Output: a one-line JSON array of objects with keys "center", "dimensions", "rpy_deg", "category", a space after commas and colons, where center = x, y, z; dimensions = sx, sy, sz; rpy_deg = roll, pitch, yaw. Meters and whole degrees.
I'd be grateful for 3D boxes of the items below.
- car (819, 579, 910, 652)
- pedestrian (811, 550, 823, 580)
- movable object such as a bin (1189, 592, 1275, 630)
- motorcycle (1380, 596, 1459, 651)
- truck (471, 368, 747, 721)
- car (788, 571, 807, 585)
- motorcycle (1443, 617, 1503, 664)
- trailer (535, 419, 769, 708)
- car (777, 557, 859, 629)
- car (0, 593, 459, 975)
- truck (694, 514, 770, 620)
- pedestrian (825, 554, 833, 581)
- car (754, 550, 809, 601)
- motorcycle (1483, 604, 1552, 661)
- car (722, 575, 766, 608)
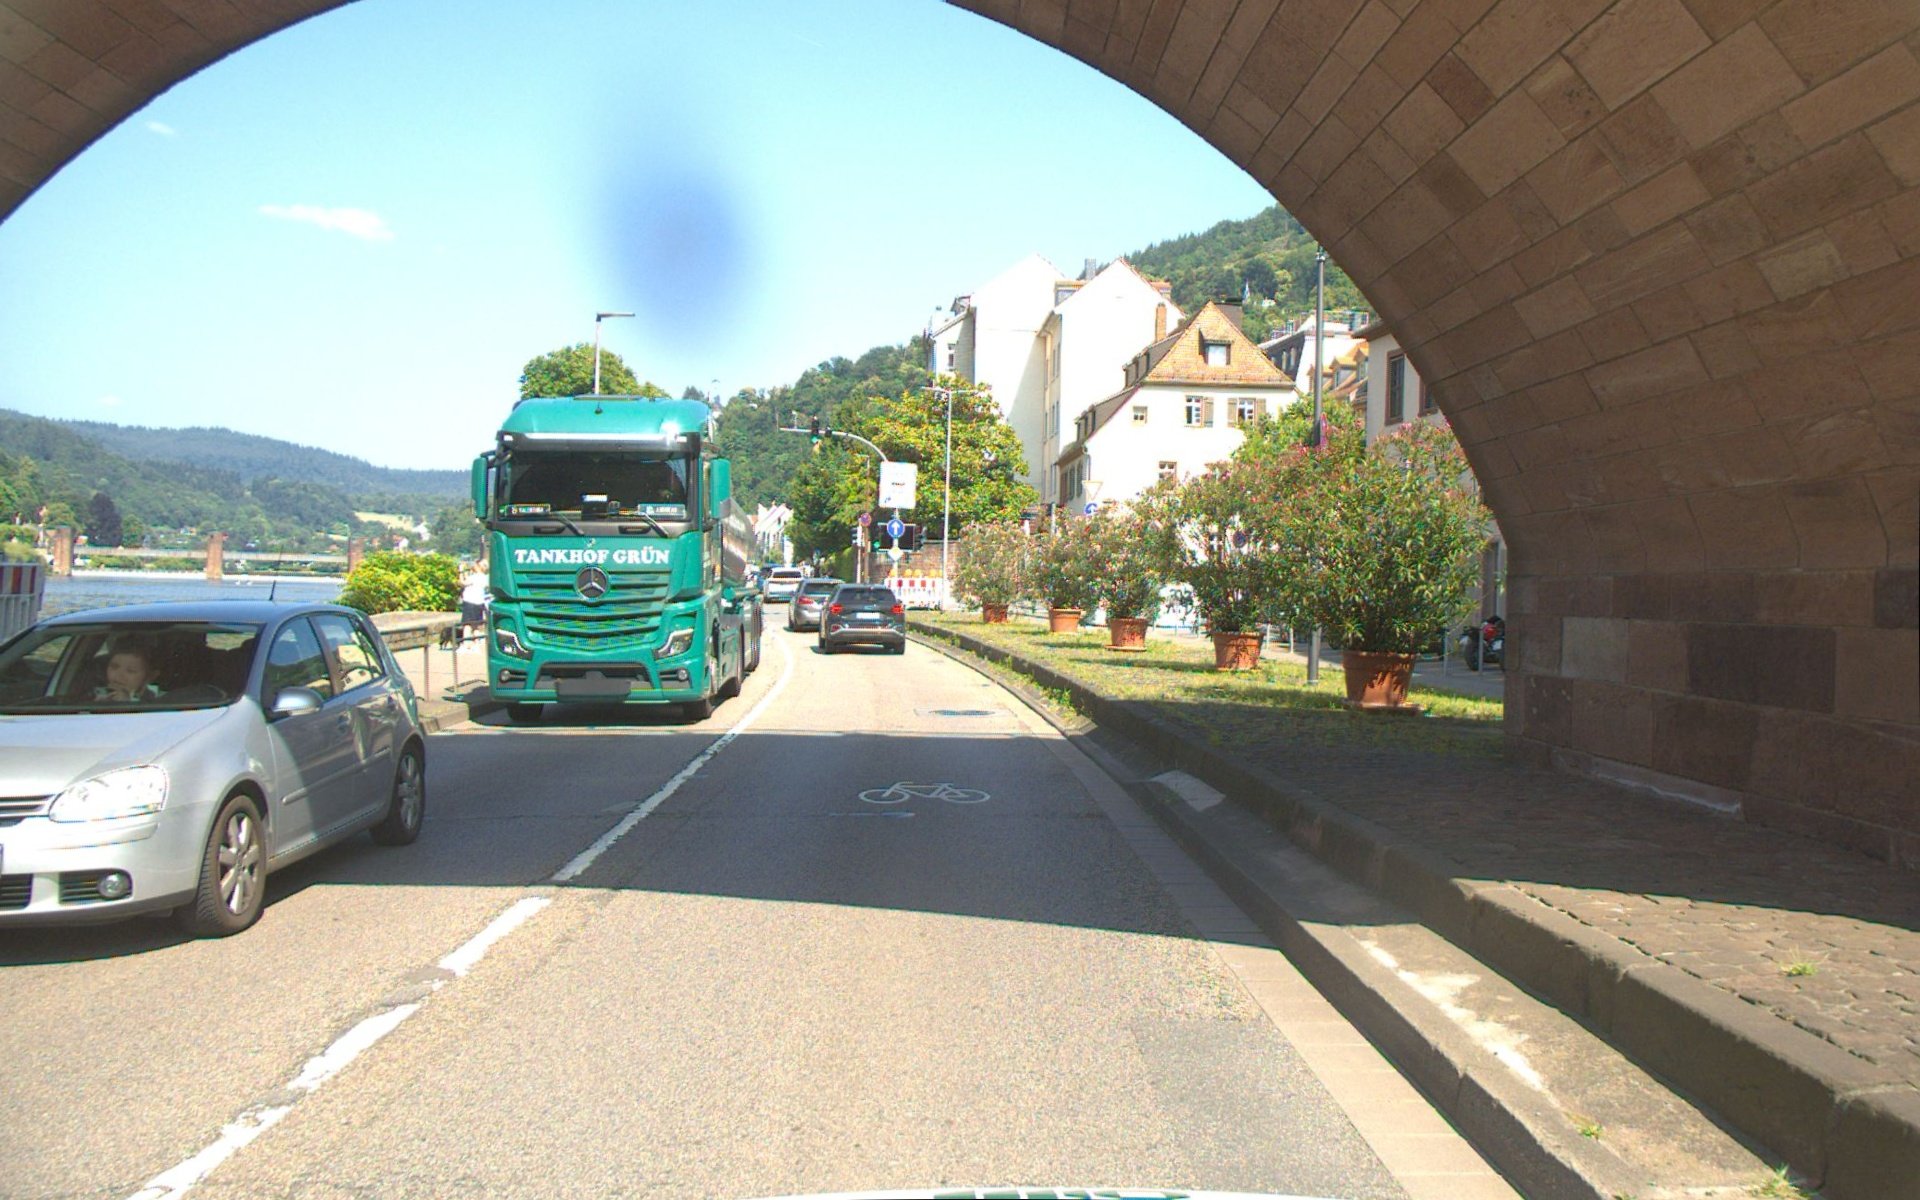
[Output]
[{"center": [-2.190, 0.306, 37.191], "dimensions": [1.821, 1.550, 3.995], "rpy_deg": [0, 1, -7], "category": "car"}, {"center": [-8.794, -2.144, 101.585], "dimensions": [0.668, 1.773, 0.911], "rpy_deg": [1, 0, -8], "category": "pedestrian"}, {"center": [8.708, 0.335, 52.824], "dimensions": [1.237, 1.129, 2.935], "rpy_deg": [2, 2, 44], "category": "movable object such as a bin"}, {"center": [11.103, 0.556, 39.936], "dimensions": [2.163, 1.289, 0.772], "rpy_deg": [0, 1, -40], "category": "motorcycle"}, {"center": [-4.208, -0.675, 21.094], "dimensions": [2.474, 3.814, 6.242], "rpy_deg": [-1, 1, -3], "category": "truck"}, {"center": [-18.178, -2.476, 184.856], "dimensions": [1.955, 1.478, 4.002], "rpy_deg": [0, 0, -7], "category": "car"}, {"center": [11.419, 0.888, 36.792], "dimensions": [0.537, 1.004, 1.920], "rpy_deg": [1, 1, 41], "category": "motorcycle"}, {"center": [-4.622, -0.562, 27.075], "dimensions": [2.474, 3.707, 11.521], "rpy_deg": [0, 1, -4], "category": "trailer"}, {"center": [-4.221, -0.180, 48.703], "dimensions": [1.958, 2.049, 3.988], "rpy_deg": [0, -1, -12], "category": "car"}, {"center": [-4.030, 0.709, 8.545], "dimensions": [1.688, 1.462, 4.398], "rpy_deg": [-1, 0, -2], "category": "car"}, {"center": [-7.894, -1.160, 56.944], "dimensions": [2.332, 3.318, 7.596], "rpy_deg": [-2, 2, -9], "category": "truck"}, {"center": [-8.056, -2.009, 101.602], "dimensions": [0.447, 1.634, 0.578], "rpy_deg": [1, 0, -7], "category": "pedestrian"}, {"center": [-7.738, -1.034, 71.429], "dimensions": [1.958, 2.049, 3.989], "rpy_deg": [3, 0, -11], "category": "car"}, {"center": [11.992, 0.686, 35.550], "dimensions": [0.617, 1.168, 2.185], "rpy_deg": [1, 1, 41], "category": "motorcycle"}, {"center": [-11.474, -0.448, 87.662], "dimensions": [1.959, 1.691, 3.987], "rpy_deg": [0, 0, -13], "category": "car"}]
